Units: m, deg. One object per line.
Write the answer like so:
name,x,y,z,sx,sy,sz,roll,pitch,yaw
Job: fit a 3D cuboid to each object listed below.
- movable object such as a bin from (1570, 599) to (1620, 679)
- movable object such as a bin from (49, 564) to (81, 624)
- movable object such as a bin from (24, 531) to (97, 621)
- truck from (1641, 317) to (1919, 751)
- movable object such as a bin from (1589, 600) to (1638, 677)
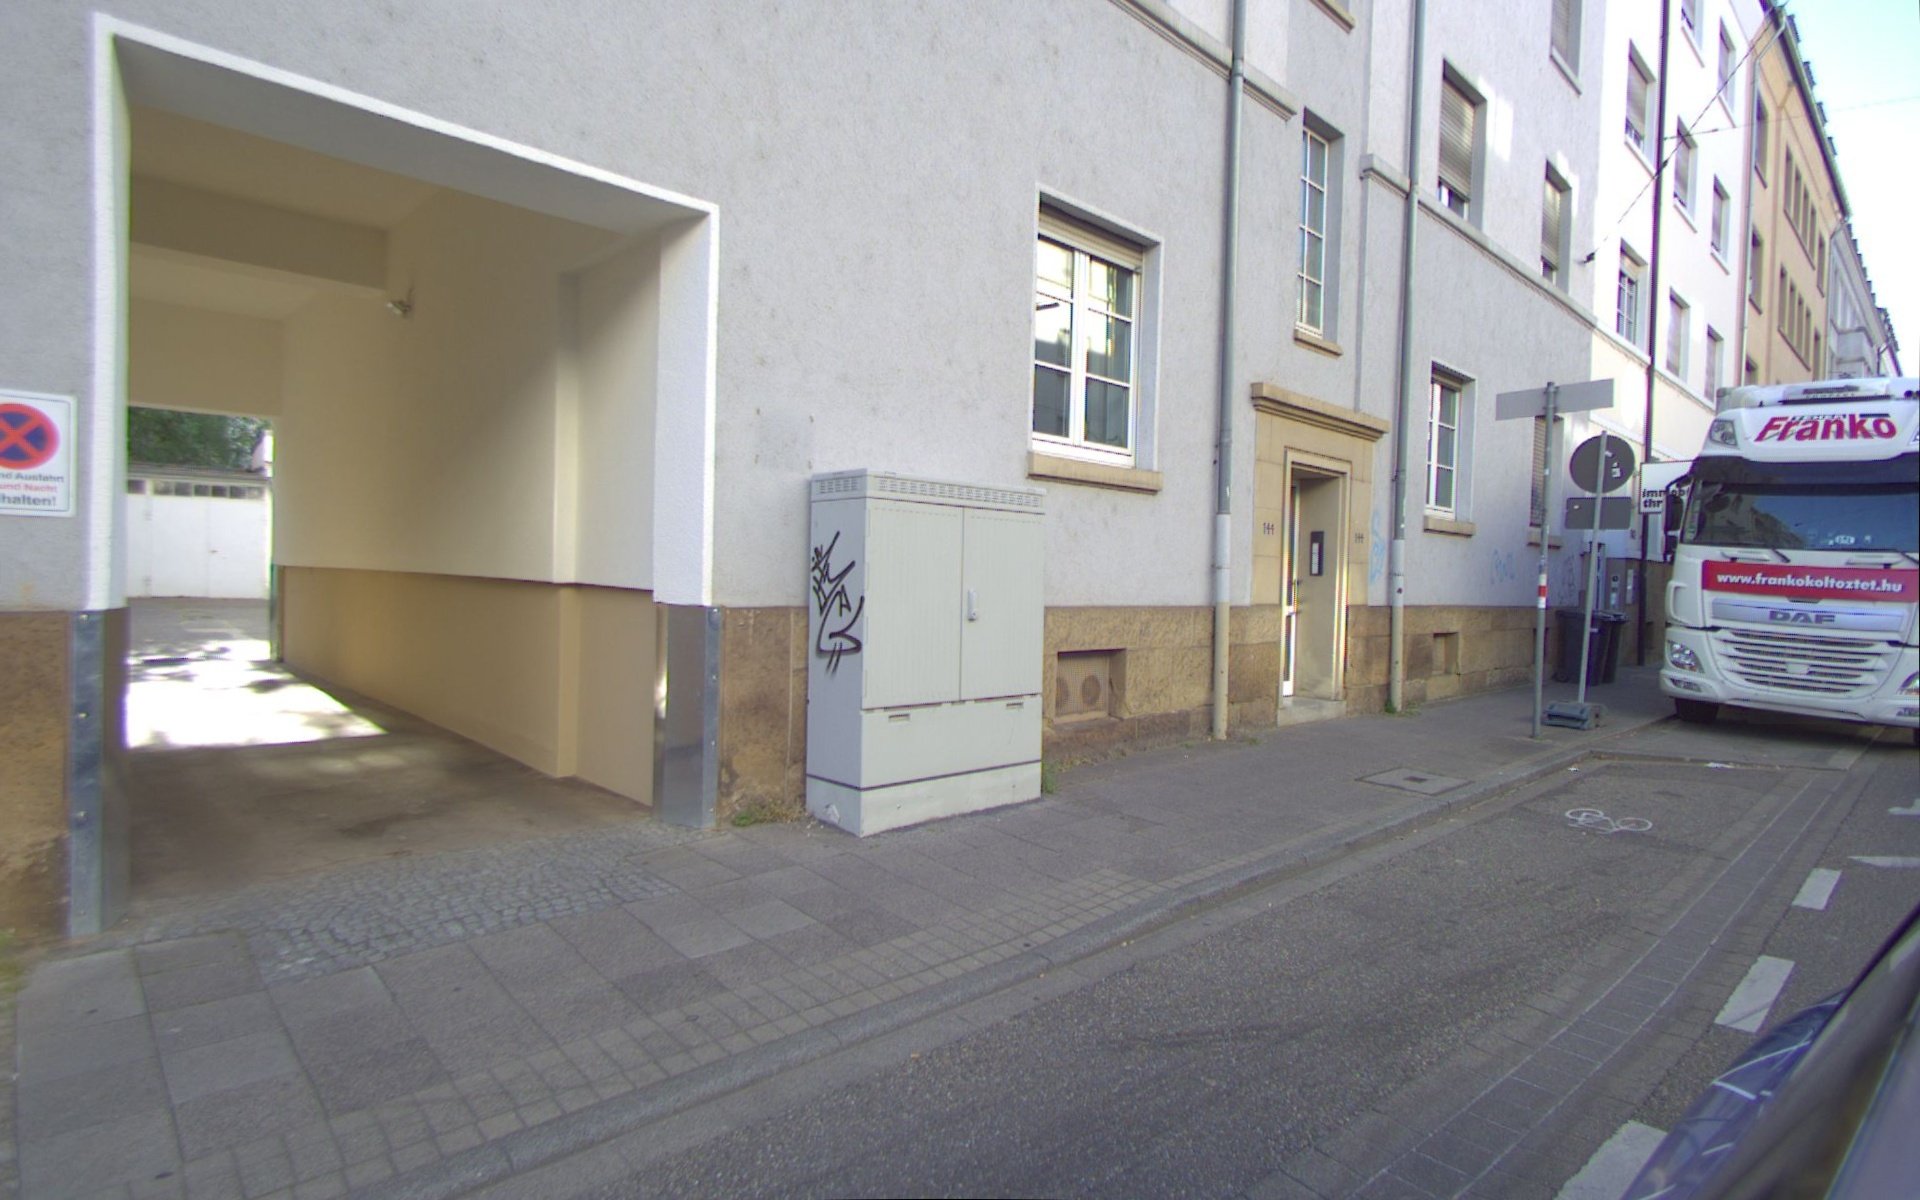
movable object such as a bin,9.115,0.544,14.528,0.511,1.106,0.488,0,0,45
movable object such as a bin,-14.267,-0.101,16.134,0.366,0.919,0.420,0,3,-44
movable object such as a bin,-14.852,-0.405,16.707,0.874,1.409,0.758,0,4,-44
truck,12.534,-0.604,13.907,11.511,4.012,2.894,0,0,-44
movable object such as a bin,9.594,0.551,14.859,0.511,1.106,0.488,0,0,45
